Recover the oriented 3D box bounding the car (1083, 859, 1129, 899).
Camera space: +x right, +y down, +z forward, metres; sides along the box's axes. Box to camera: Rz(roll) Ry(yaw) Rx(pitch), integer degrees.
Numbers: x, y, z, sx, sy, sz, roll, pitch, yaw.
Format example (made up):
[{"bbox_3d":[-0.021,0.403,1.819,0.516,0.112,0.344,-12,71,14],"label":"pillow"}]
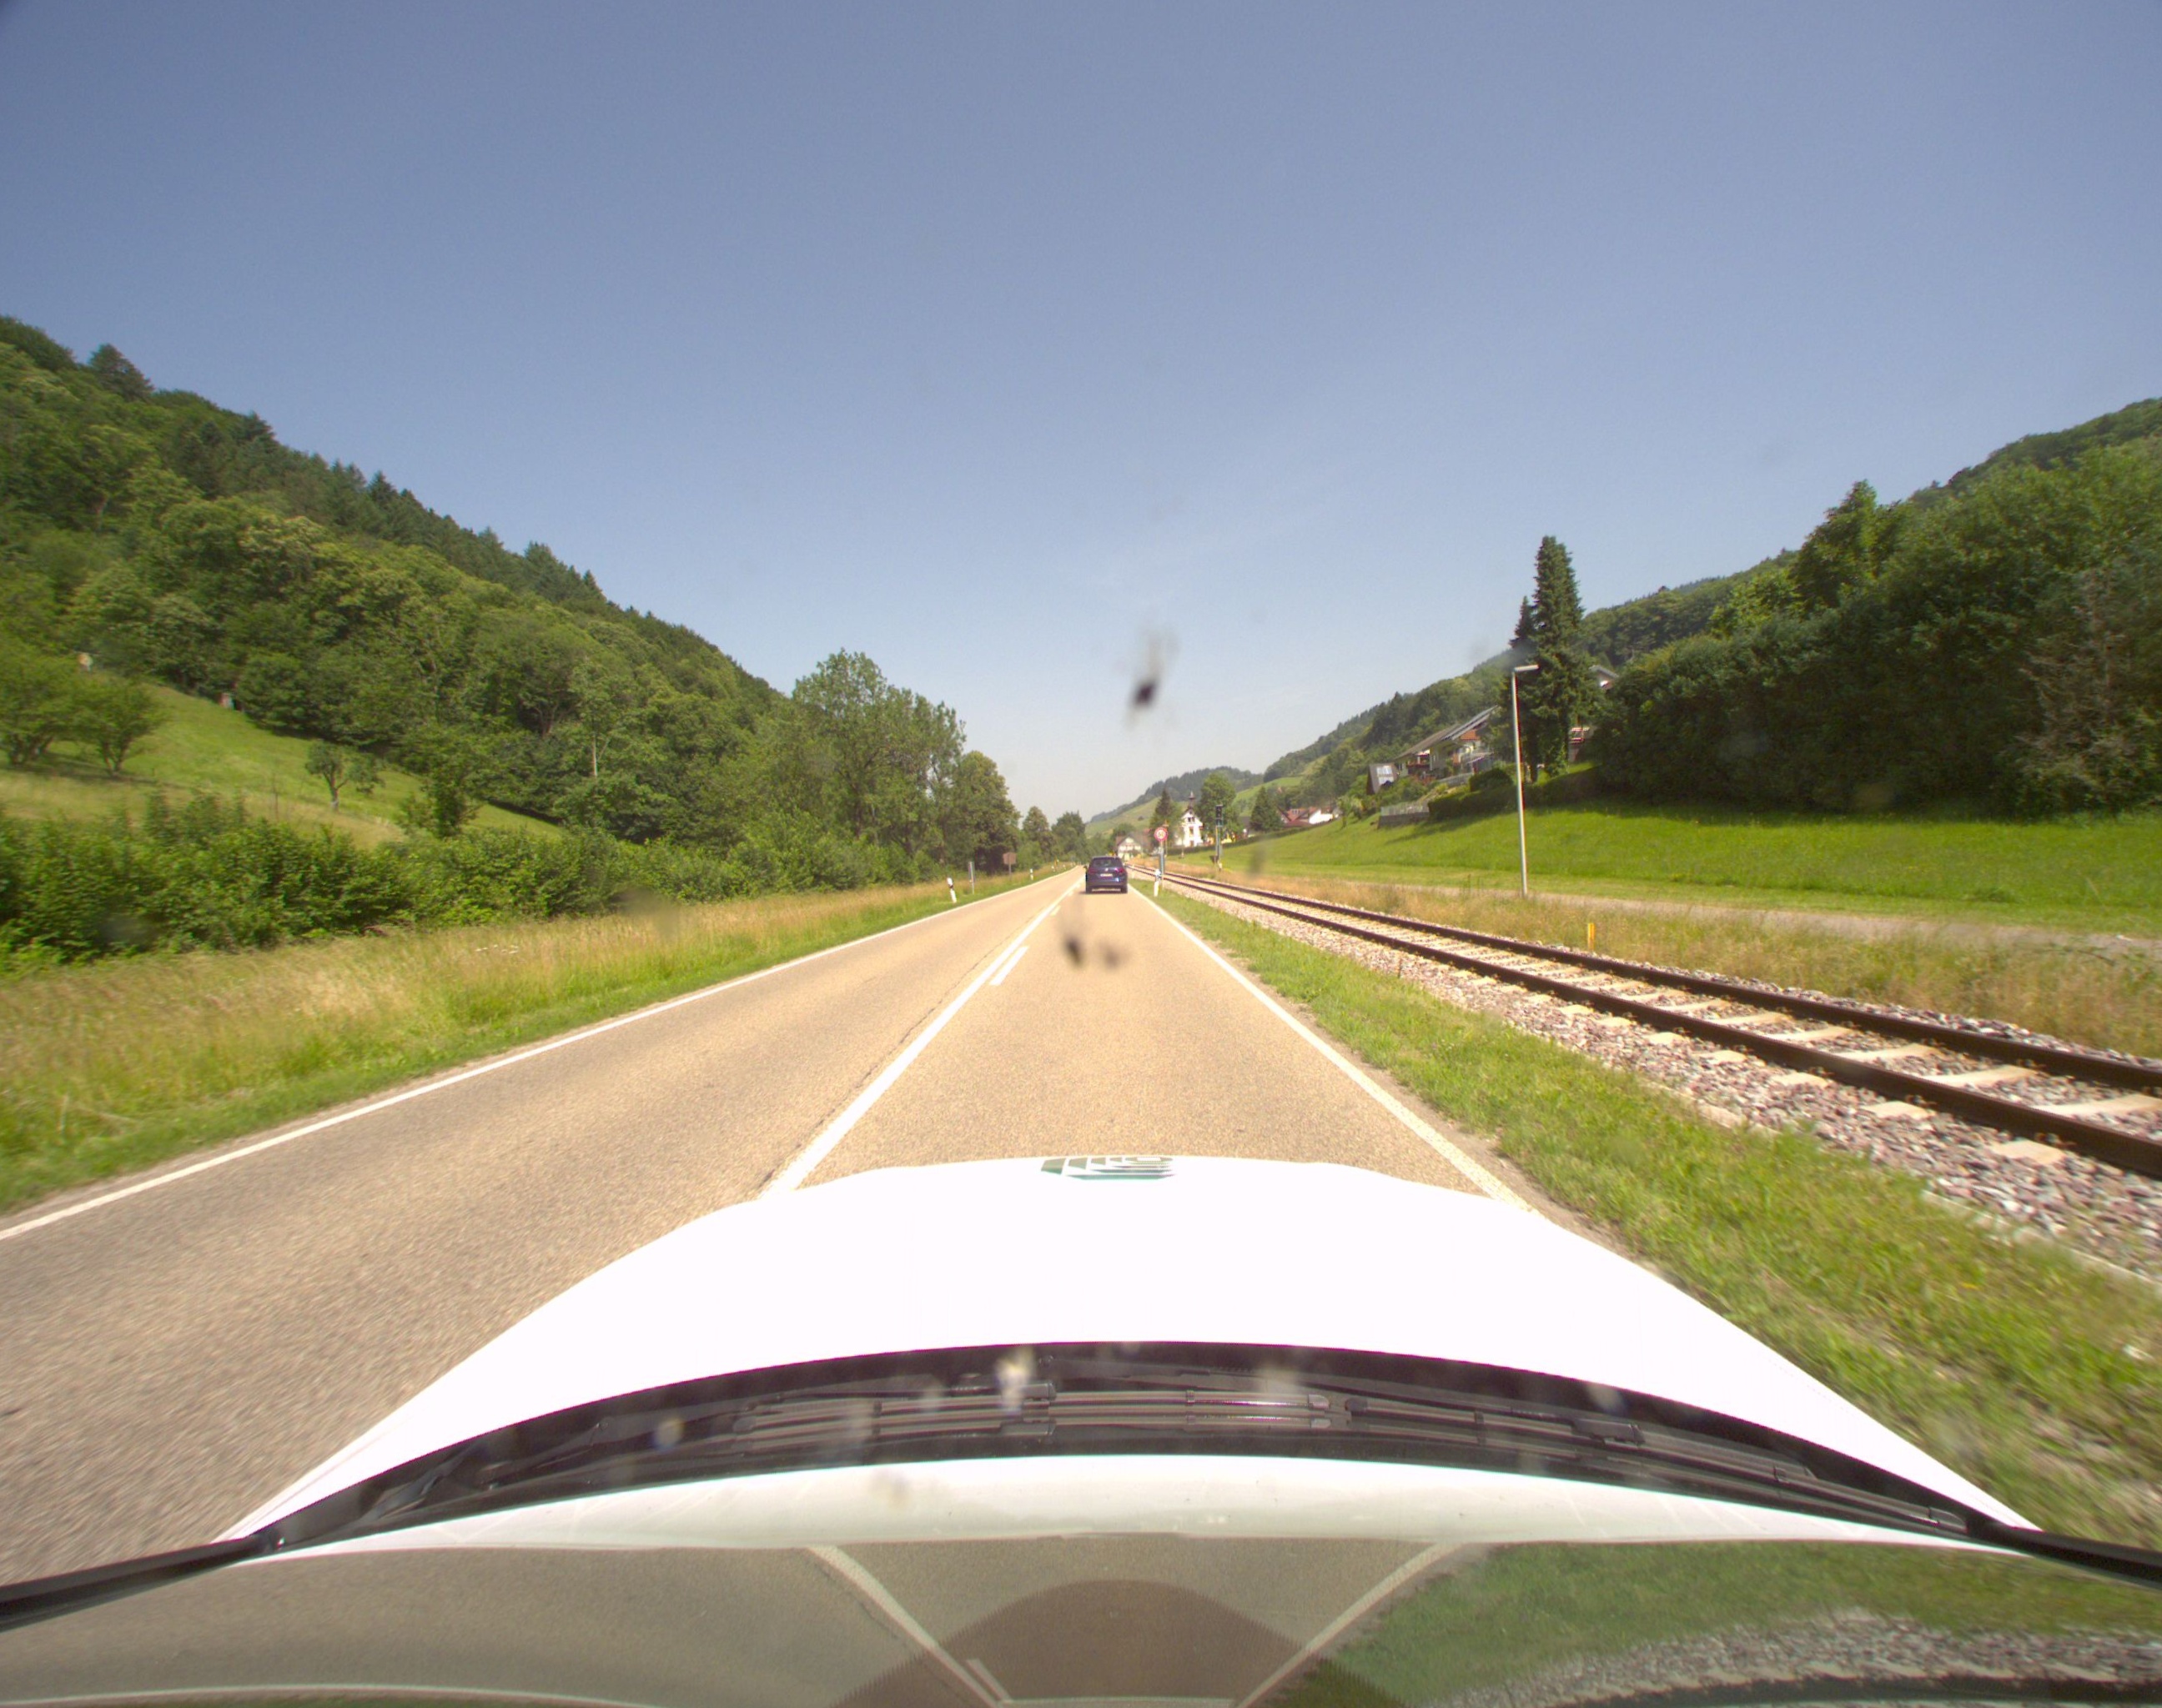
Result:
[{"bbox_3d":[1.173,1.051,36.209,1.844,1.649,4.144,-1,-1,4],"label":"car"}]
